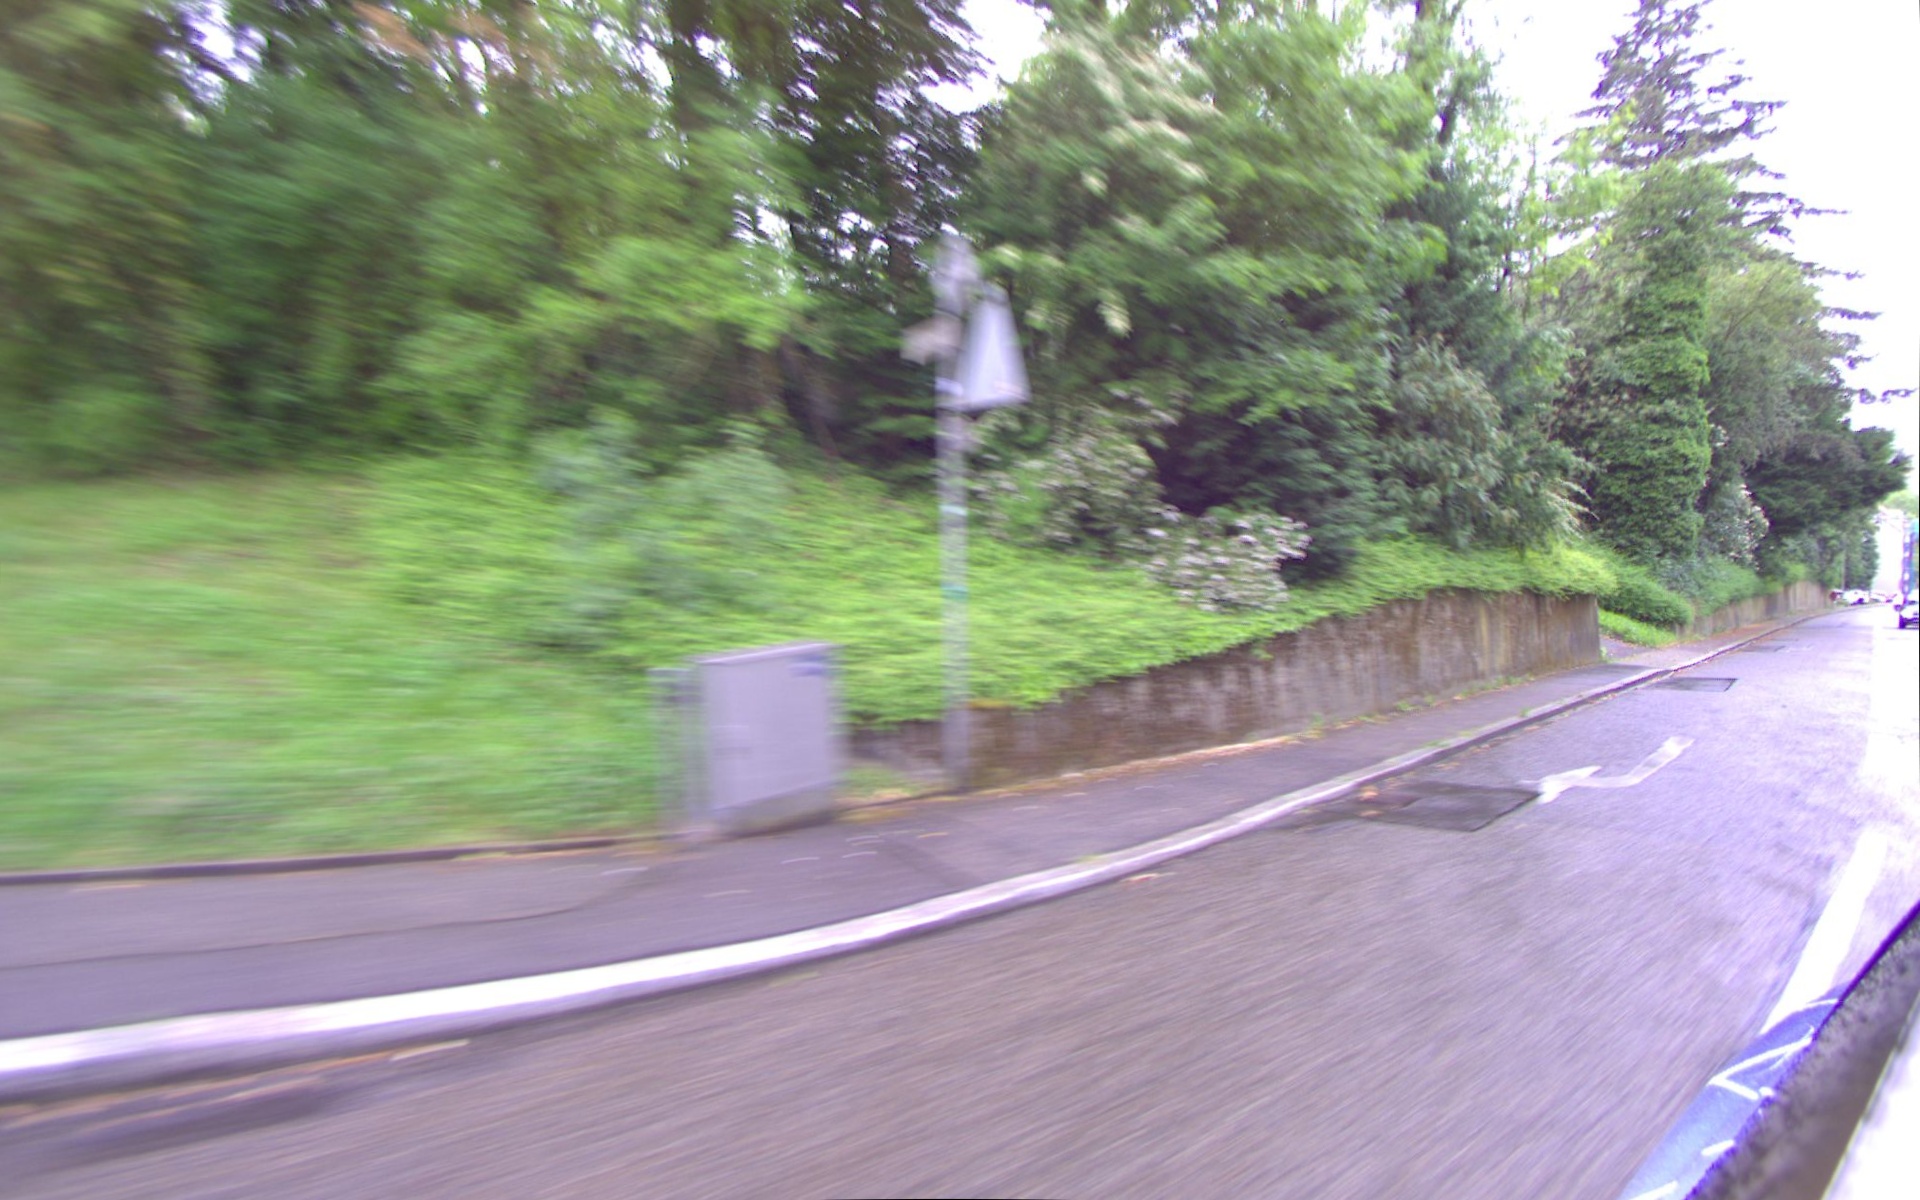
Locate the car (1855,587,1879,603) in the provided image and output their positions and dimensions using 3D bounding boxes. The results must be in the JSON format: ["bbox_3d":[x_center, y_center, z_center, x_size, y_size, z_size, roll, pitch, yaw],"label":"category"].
[{"bbox_3d":[102.459,-0.595,114.289,1.766,1.643,4.605,2,2,44],"label":"car"}]

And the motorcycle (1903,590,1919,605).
[{"bbox_3d":[77.194,-0.194,82.088,2.260,1.141,0.778,-1,0,-42],"label":"motorcycle"}]

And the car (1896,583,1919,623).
[{"bbox_3d":[41.045,0.108,42.802,1.994,1.633,3.903,1,1,45],"label":"car"}]

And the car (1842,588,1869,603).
[{"bbox_3d":[94.782,-0.486,107.077,4.661,1.496,1.741,0,3,-44],"label":"car"}]

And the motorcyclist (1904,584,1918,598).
[{"bbox_3d":[77.108,-0.713,82.023,0.539,1.141,0.778,0,-1,-42],"label":"motorcyclist"}]

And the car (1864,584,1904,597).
[{"bbox_3d":[136.569,-1.407,149.556,1.774,1.593,4.189,0,5,-44],"label":"car"}]
